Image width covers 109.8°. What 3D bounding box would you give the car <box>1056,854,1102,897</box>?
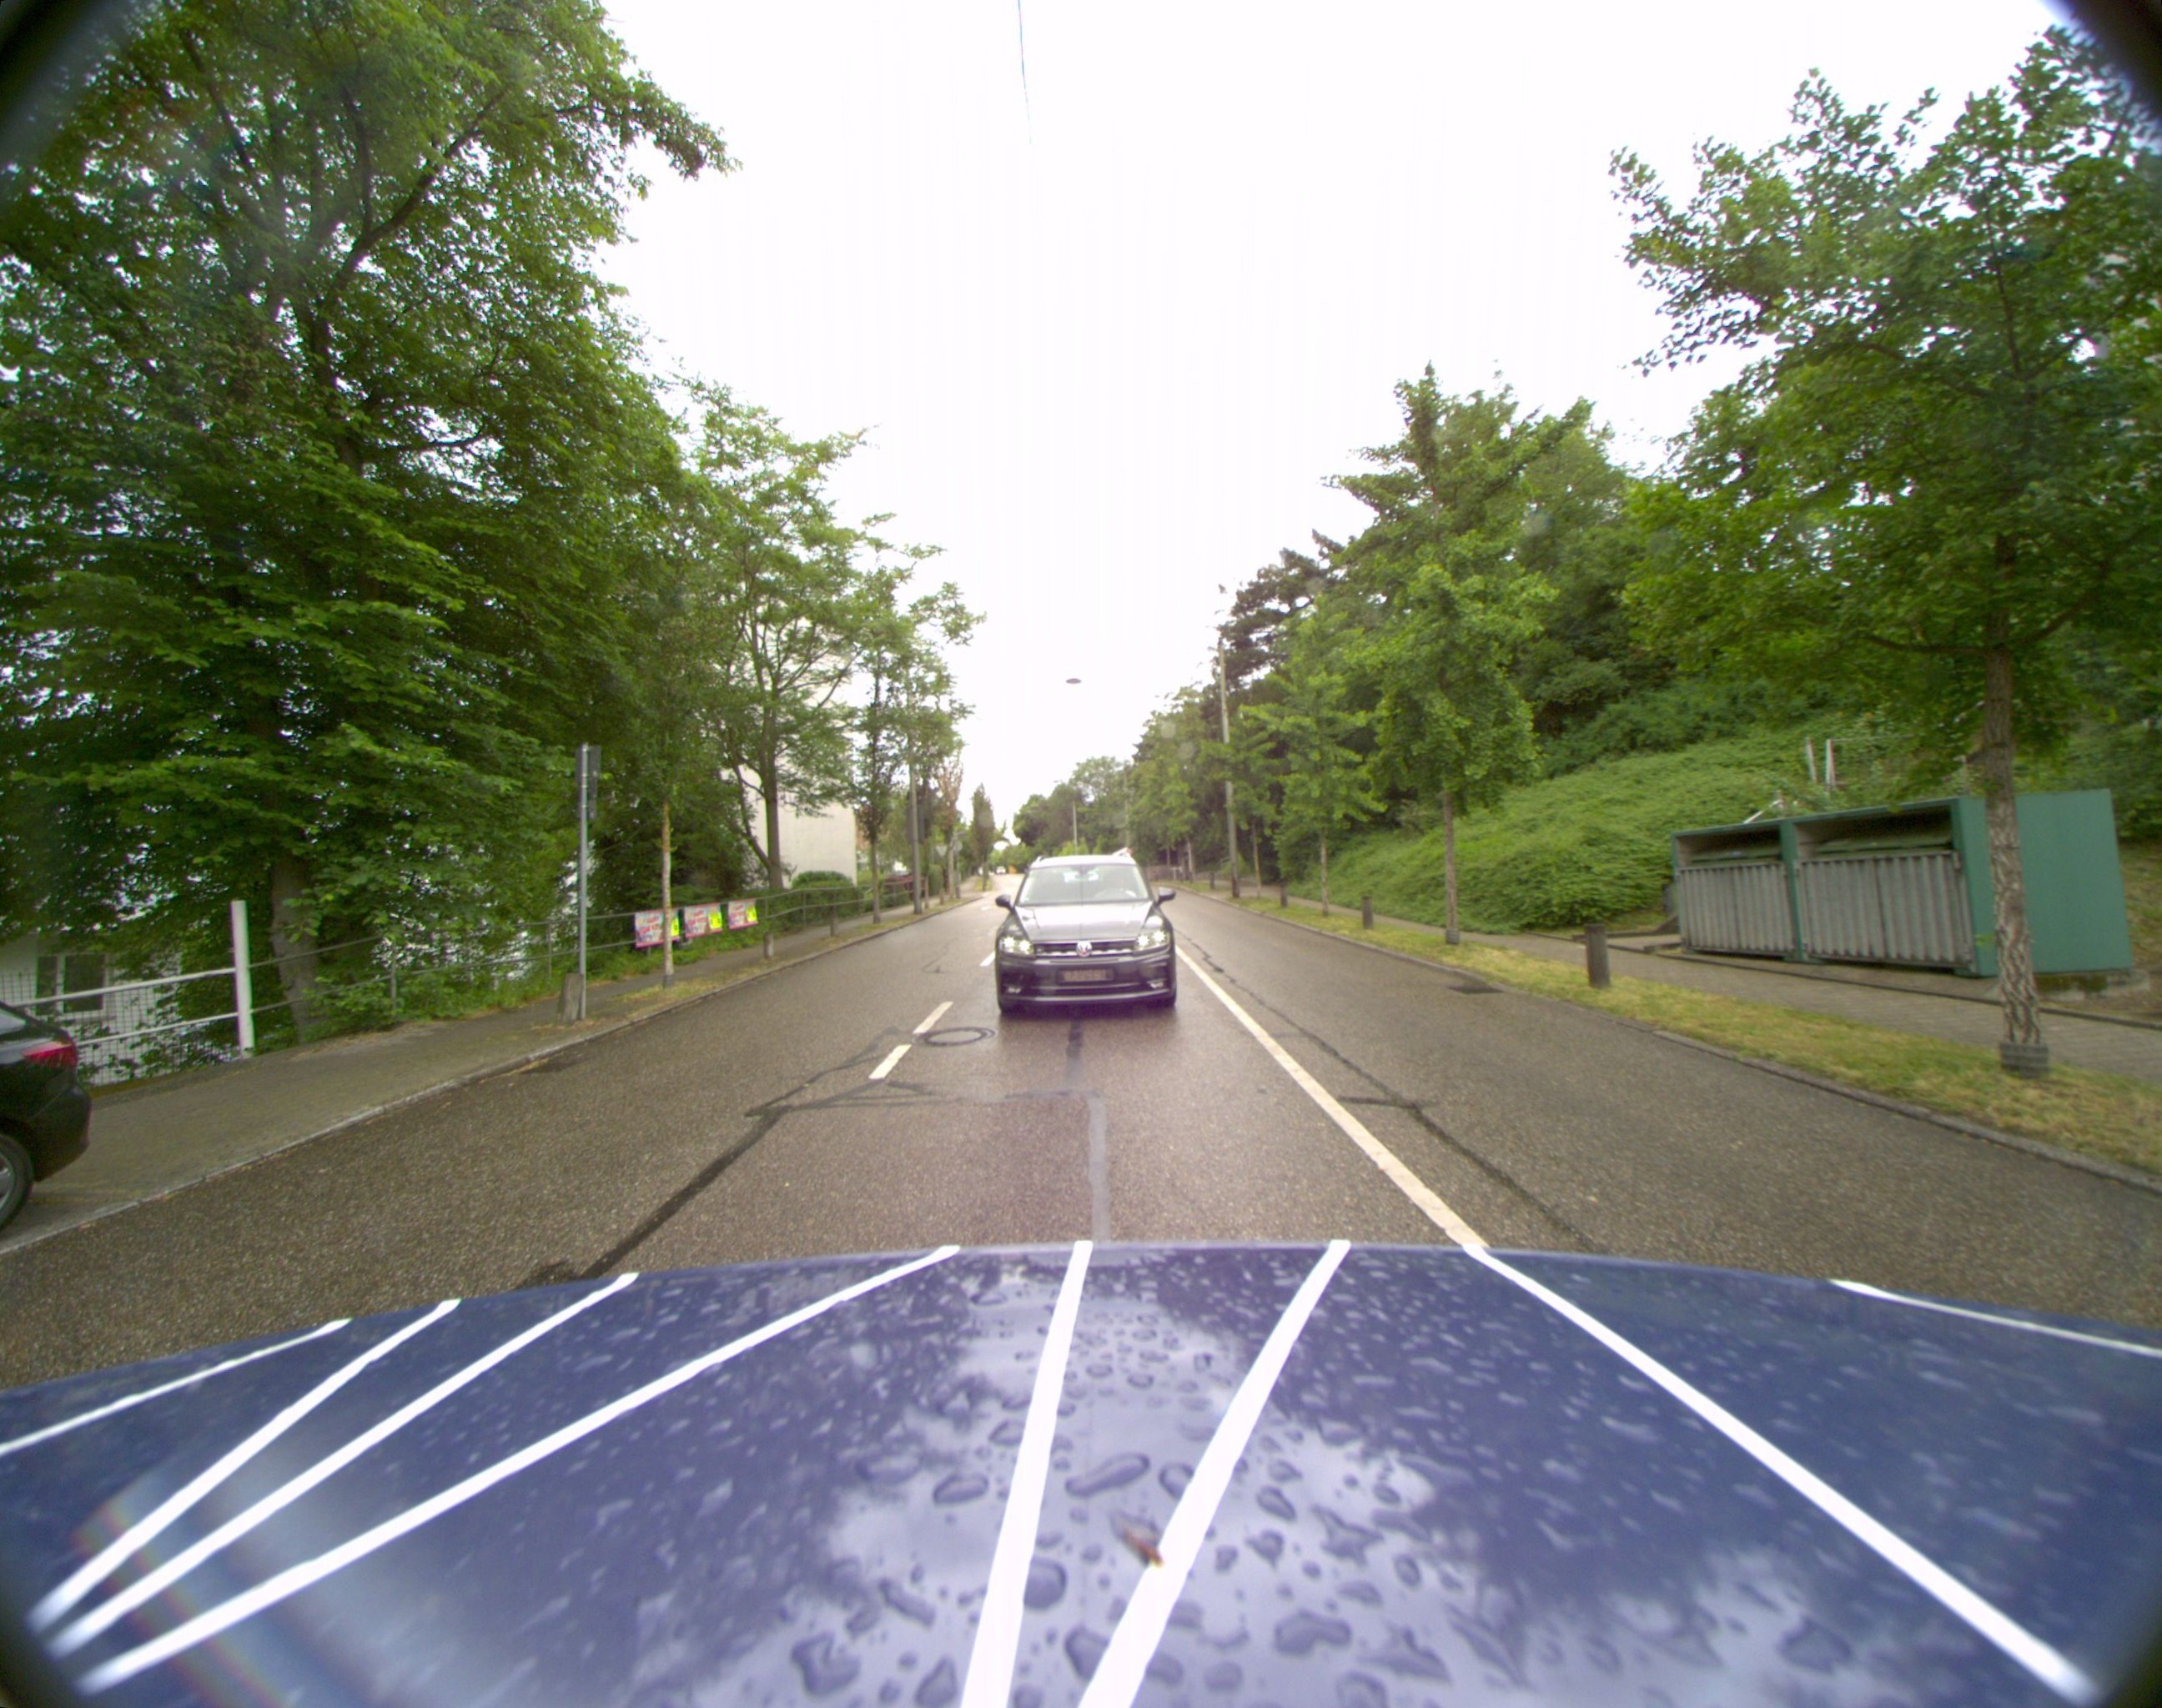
[{"bbox_3d":[-0.048,0.891,33.393,1.834,1.608,4.350,-3,1,1],"label":"car"}]

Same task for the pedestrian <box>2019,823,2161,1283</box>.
[{"bbox_3d":[4.579,0.768,2.805,0.824,1.772,1.073,-4,1,0],"label":"pedestrian"}]

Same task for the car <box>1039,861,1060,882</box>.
[{"bbox_3d":[-3.250,1.761,78.230,1.835,2.003,4.055,-3,1,-5],"label":"car"}]

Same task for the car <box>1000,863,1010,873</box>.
[{"bbox_3d":[-14.696,2.639,146.634,1.893,1.710,4.234,-1,1,-7],"label":"car"}]

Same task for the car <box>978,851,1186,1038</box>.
[{"bbox_3d":[0.037,0.829,9.145,1.834,1.608,4.292,-3,1,1],"label":"car"}]

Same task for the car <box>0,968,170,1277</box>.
[{"bbox_3d":[-6.338,1.384,2.238,1.999,1.426,4.442,0,0,-1],"label":"car"}]
